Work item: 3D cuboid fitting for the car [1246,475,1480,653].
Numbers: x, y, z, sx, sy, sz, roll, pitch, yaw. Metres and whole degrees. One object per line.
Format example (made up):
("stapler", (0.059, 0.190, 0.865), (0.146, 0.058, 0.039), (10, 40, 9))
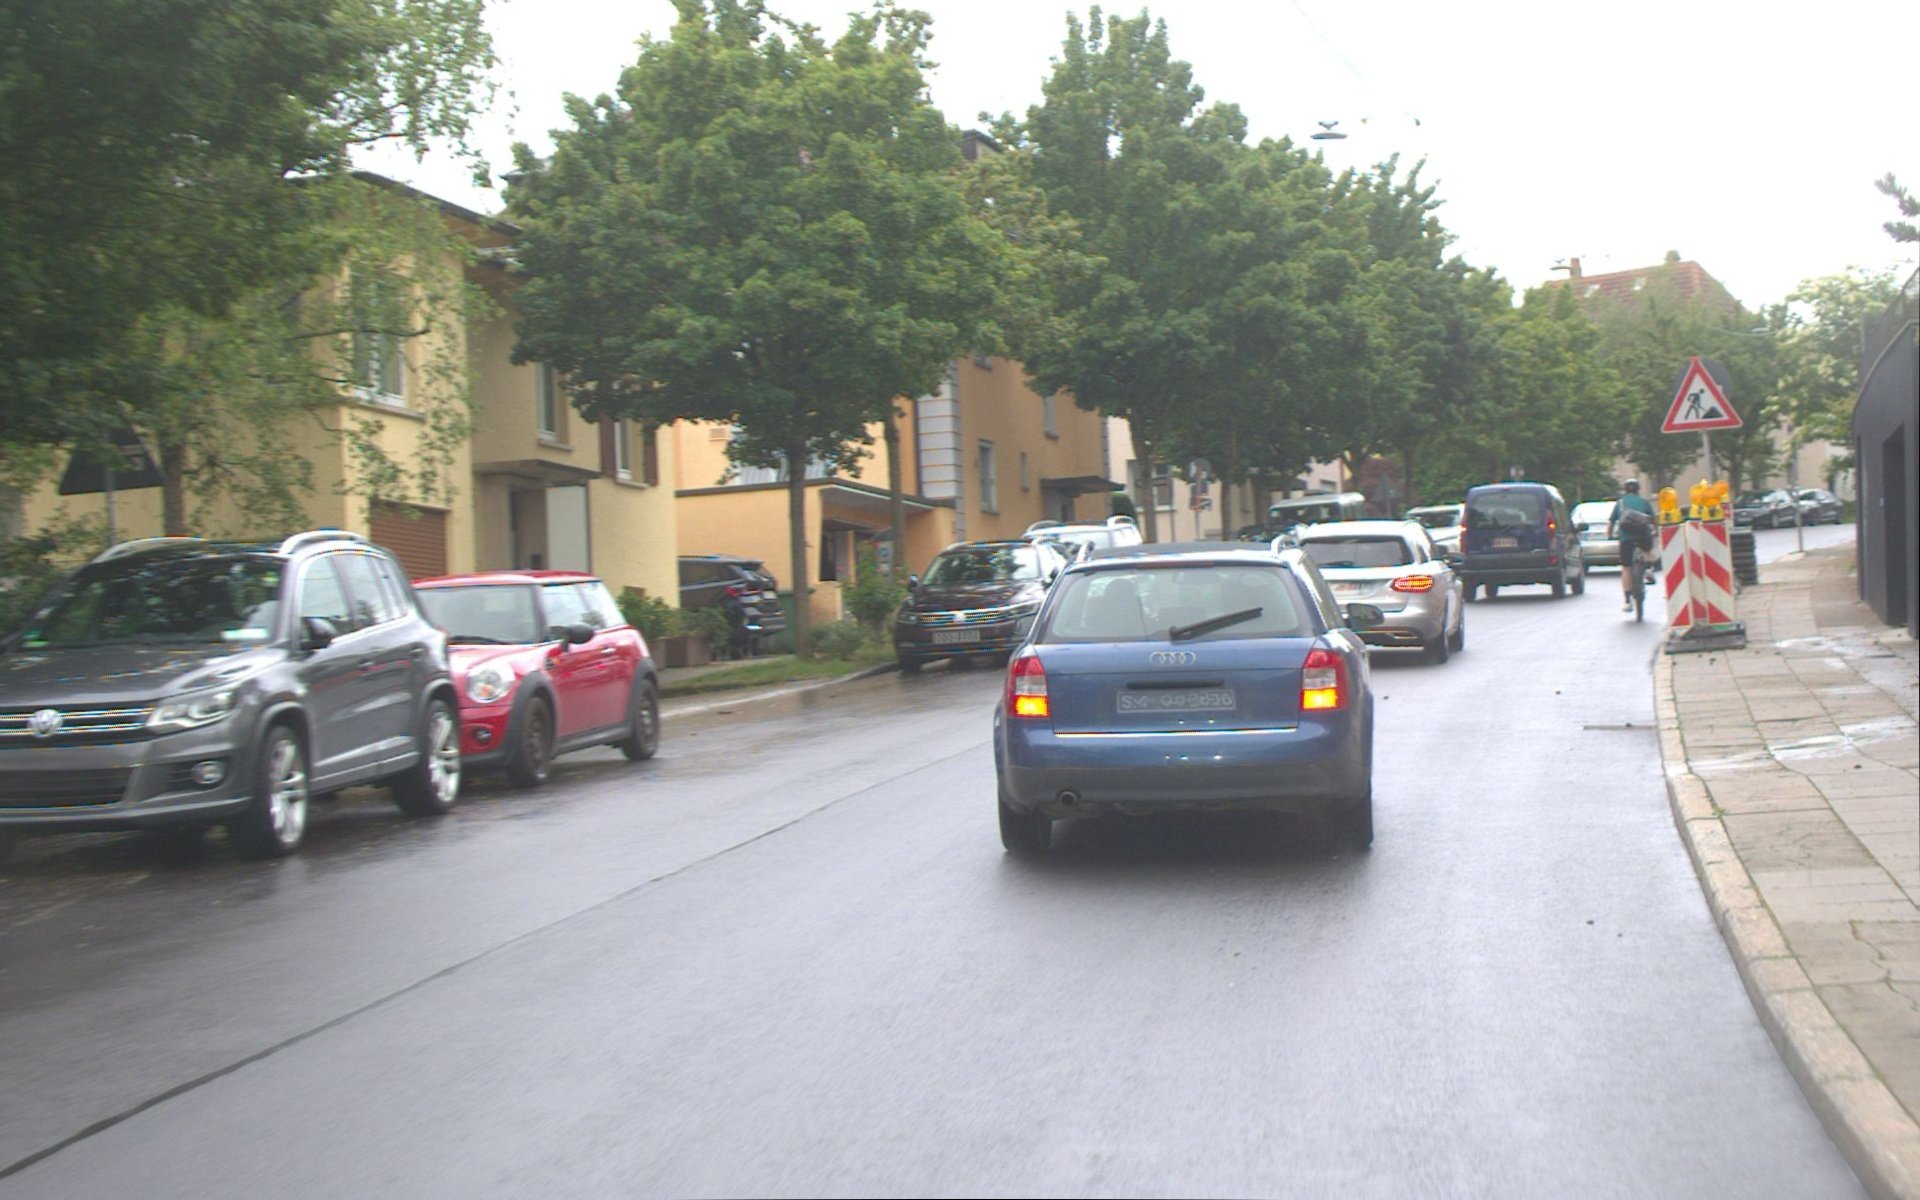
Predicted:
("car", (4.280, -0.426, 35.950), (1.976, 1.629, 4.233), (0, 3, 13))

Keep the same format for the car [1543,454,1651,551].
("car", (12.769, -1.974, 68.732), (1.735, 1.762, 4.233), (0, 3, 16))

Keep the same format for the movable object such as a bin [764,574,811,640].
("movable object such as a bin", (-2.770, 0.105, 55.191), (0.587, 1.020, 0.586), (-2, 1, 12))

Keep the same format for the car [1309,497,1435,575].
("car", (8.934, -1.402, 74.225), (1.769, 1.382, 4.630), (-4, 2, 18))

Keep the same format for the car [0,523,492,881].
("car", (-4.092, 0.466, 18.657), (1.801, 1.663, 4.424), (-3, 1, 9))

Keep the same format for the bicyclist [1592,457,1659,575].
("bicyclist", (8.522, -1.075, 43.986), (0.725, 1.467, 0.885), (-2, 1, 16))

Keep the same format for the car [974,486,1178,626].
("car", (1.640, -0.640, 47.006), (1.769, 1.629, 4.107), (-6, 1, 15))

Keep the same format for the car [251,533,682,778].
("car", (-3.281, 0.318, 23.615), (1.683, 1.466, 3.864), (-3, 1, 11))

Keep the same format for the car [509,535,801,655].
("car", (-4.707, -0.084, 53.260), (4.056, 1.640, 1.862), (-3, 1, 15))

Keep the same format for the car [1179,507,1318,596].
("car", (5.370, -0.922, 63.530), (1.769, 1.431, 4.344), (-4, 1, 15))

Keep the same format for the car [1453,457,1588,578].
("car", (9.058, -1.356, 55.359), (1.734, 1.762, 4.233), (0, 3, 15))

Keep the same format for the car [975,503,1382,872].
("car", (1.189, 0.334, 16.929), (1.734, 1.461, 4.000), (-1, 3, 7))

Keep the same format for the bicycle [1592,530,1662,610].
("bicycle", (8.527, -0.389, 43.928), (0.730, 0.961, 1.669), (-1, 2, 15))

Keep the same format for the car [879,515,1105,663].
("car", (0.456, -0.179, 41.606), (1.769, 1.530, 4.603), (-4, 1, 12))

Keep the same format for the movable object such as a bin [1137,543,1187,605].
("movable object such as a bin", (3.596, -0.470, 61.170), (0.683, 1.008, 0.708), (-7, 0, 10))

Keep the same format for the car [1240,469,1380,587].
("car", (6.990, -1.468, 68.234), (1.792, 2.042, 4.779), (-6, 1, 16))

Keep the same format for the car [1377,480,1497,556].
("car", (11.241, -1.934, 80.750), (1.770, 1.621, 4.686), (-4, 0, 20))
